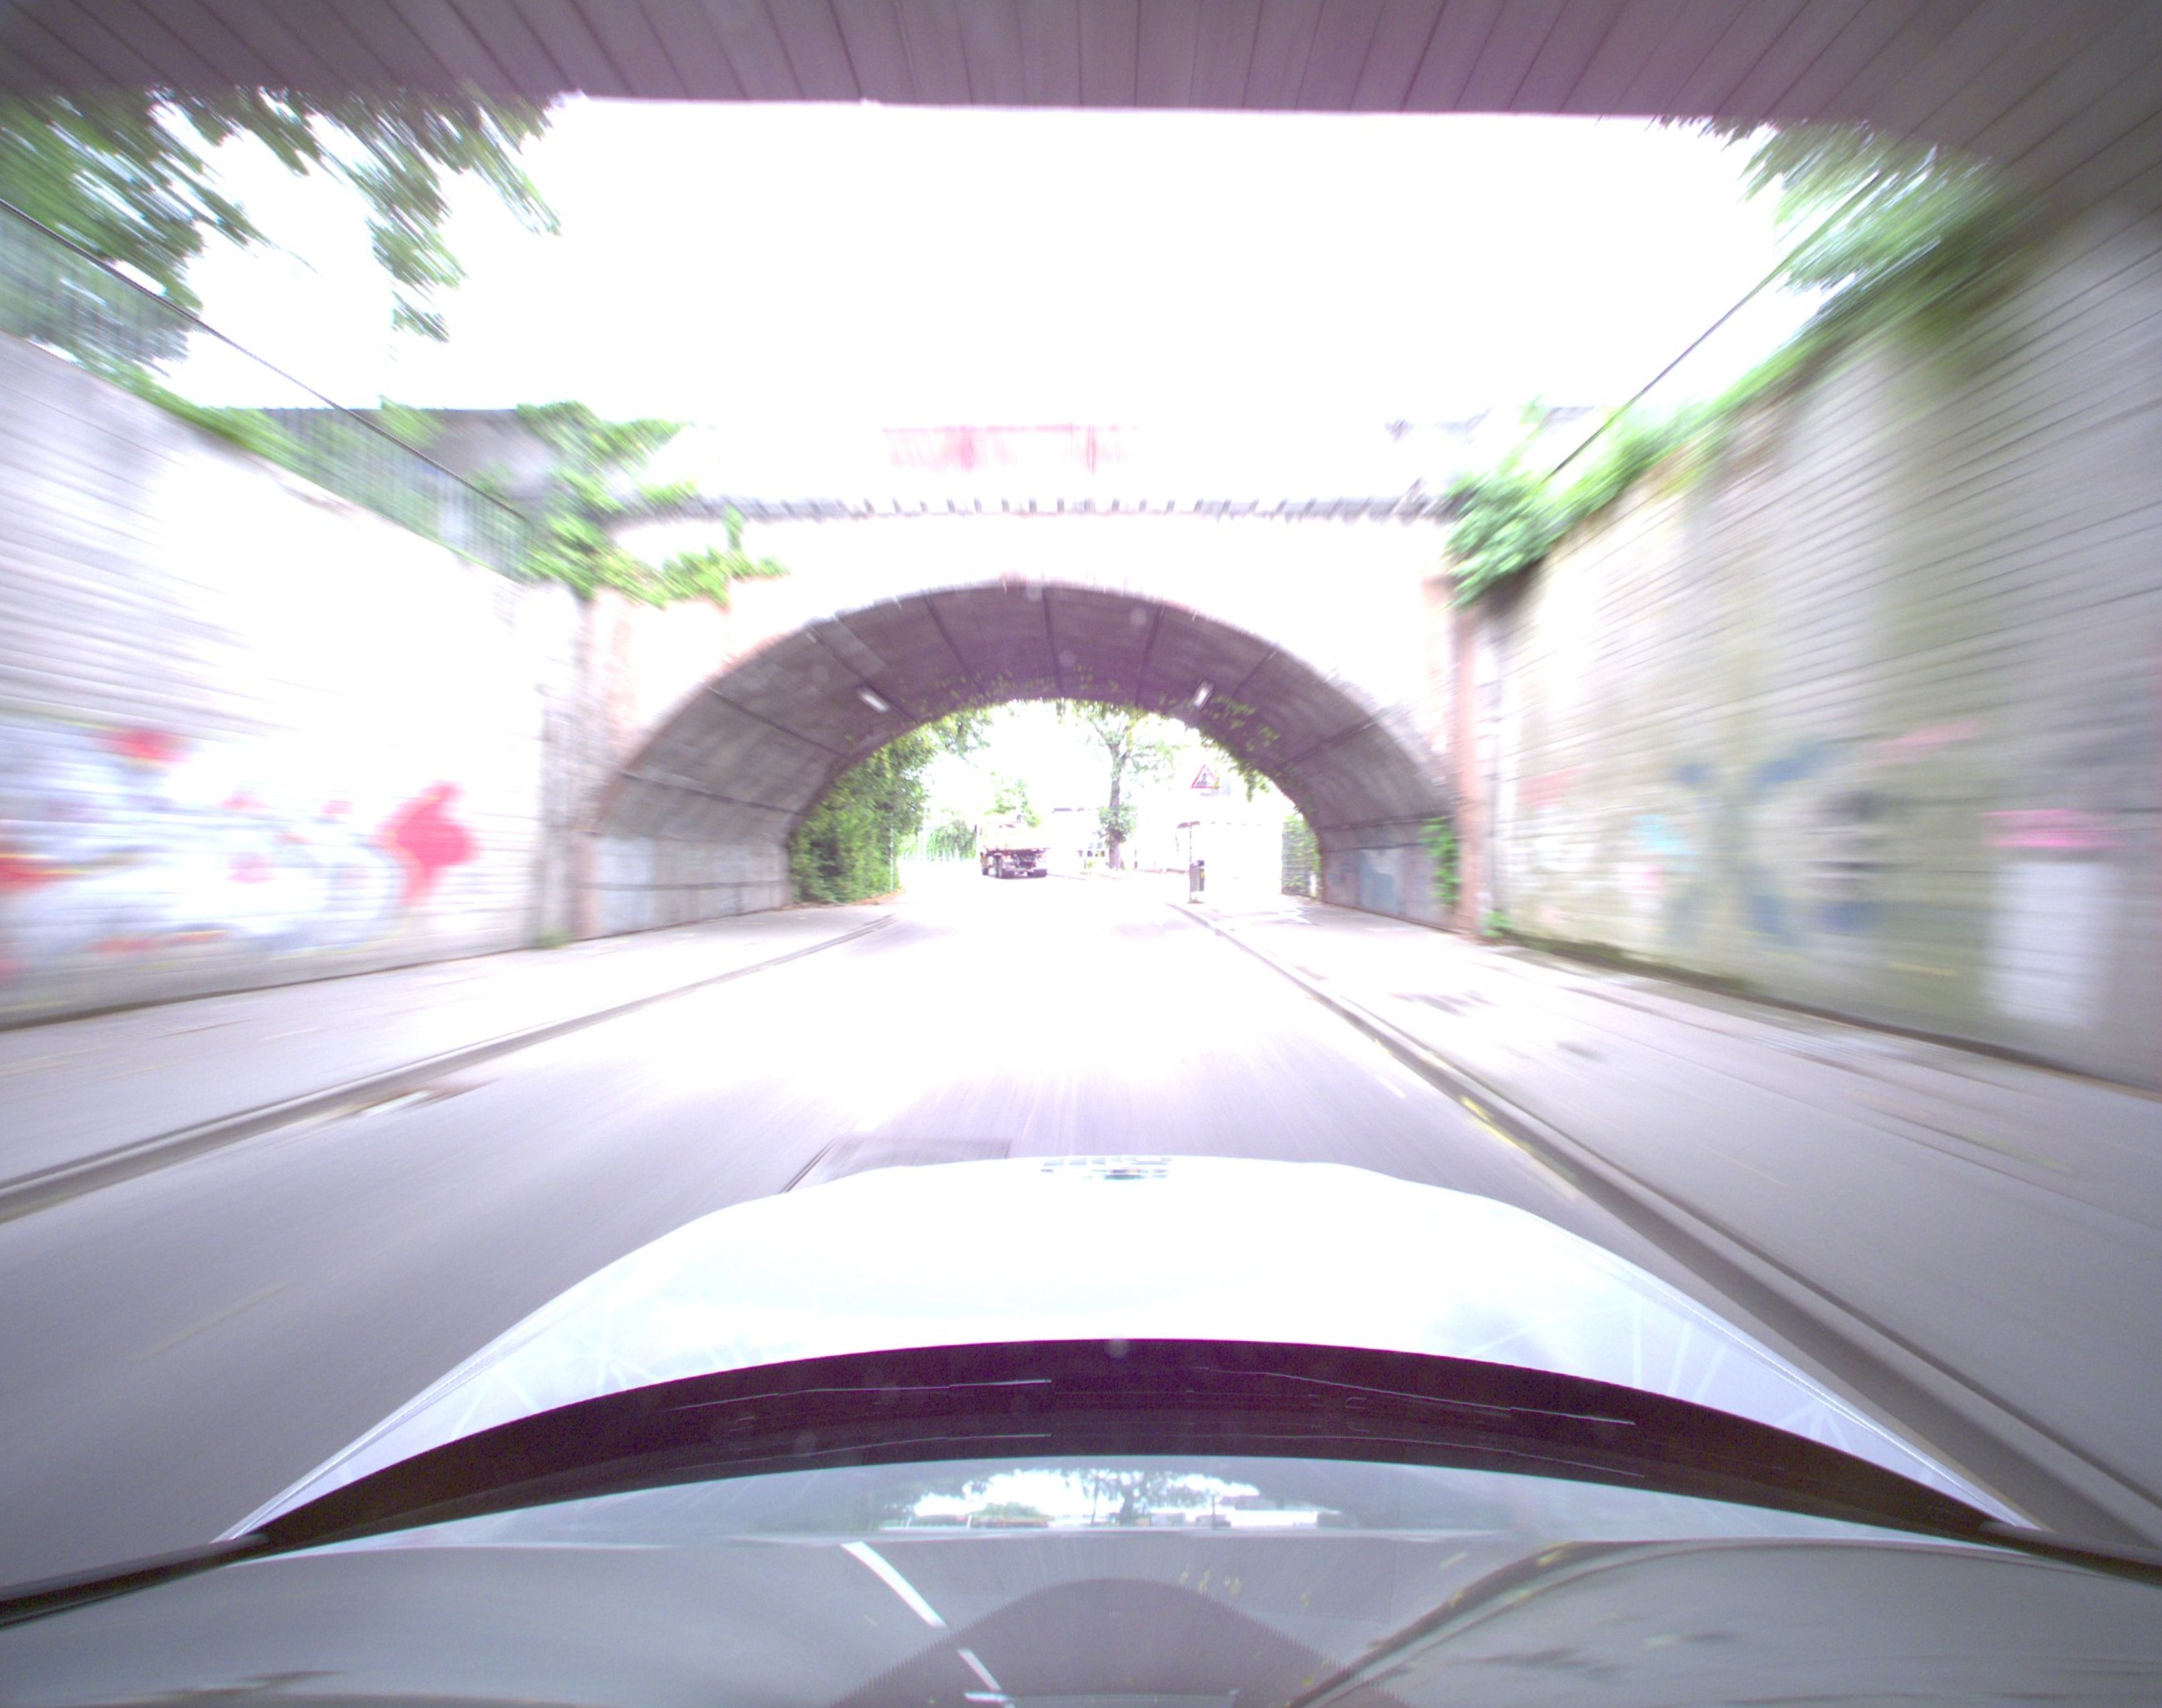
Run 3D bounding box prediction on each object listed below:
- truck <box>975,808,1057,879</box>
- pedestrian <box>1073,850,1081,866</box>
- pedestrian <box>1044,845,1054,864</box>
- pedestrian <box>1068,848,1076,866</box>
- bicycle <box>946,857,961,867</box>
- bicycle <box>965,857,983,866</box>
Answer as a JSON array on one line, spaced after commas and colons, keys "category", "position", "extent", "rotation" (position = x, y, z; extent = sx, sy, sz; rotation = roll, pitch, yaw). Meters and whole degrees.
[{"category": "truck", "position": [-3.760, -0.652, 44.811], "extent": [2.771, 3.483, 8.083], "rotation": [-2, 2, -17]}, {"category": "pedestrian", "position": [-0.419, 0.381, 81.371], "extent": [0.796, 1.583, 0.802], "rotation": [0, -2, 2]}, {"category": "pedestrian", "position": [-2.789, 0.045, 72.030], "extent": [0.846, 1.684, 0.939], "rotation": [-1, -2, -2]}, {"category": "pedestrian", "position": [-0.891, 0.290, 79.754], "extent": [0.811, 1.703, 0.749], "rotation": [0, -2, 2]}, {"category": "bicycle", "position": [-13.920, 0.876, 89.181], "extent": [1.492, 0.989, 0.690], "rotation": [3, -1, -20]}, {"category": "bicycle", "position": [-11.654, 0.784, 88.702], "extent": [1.981, 0.865, 0.505], "rotation": [5, -3, -38]}]
